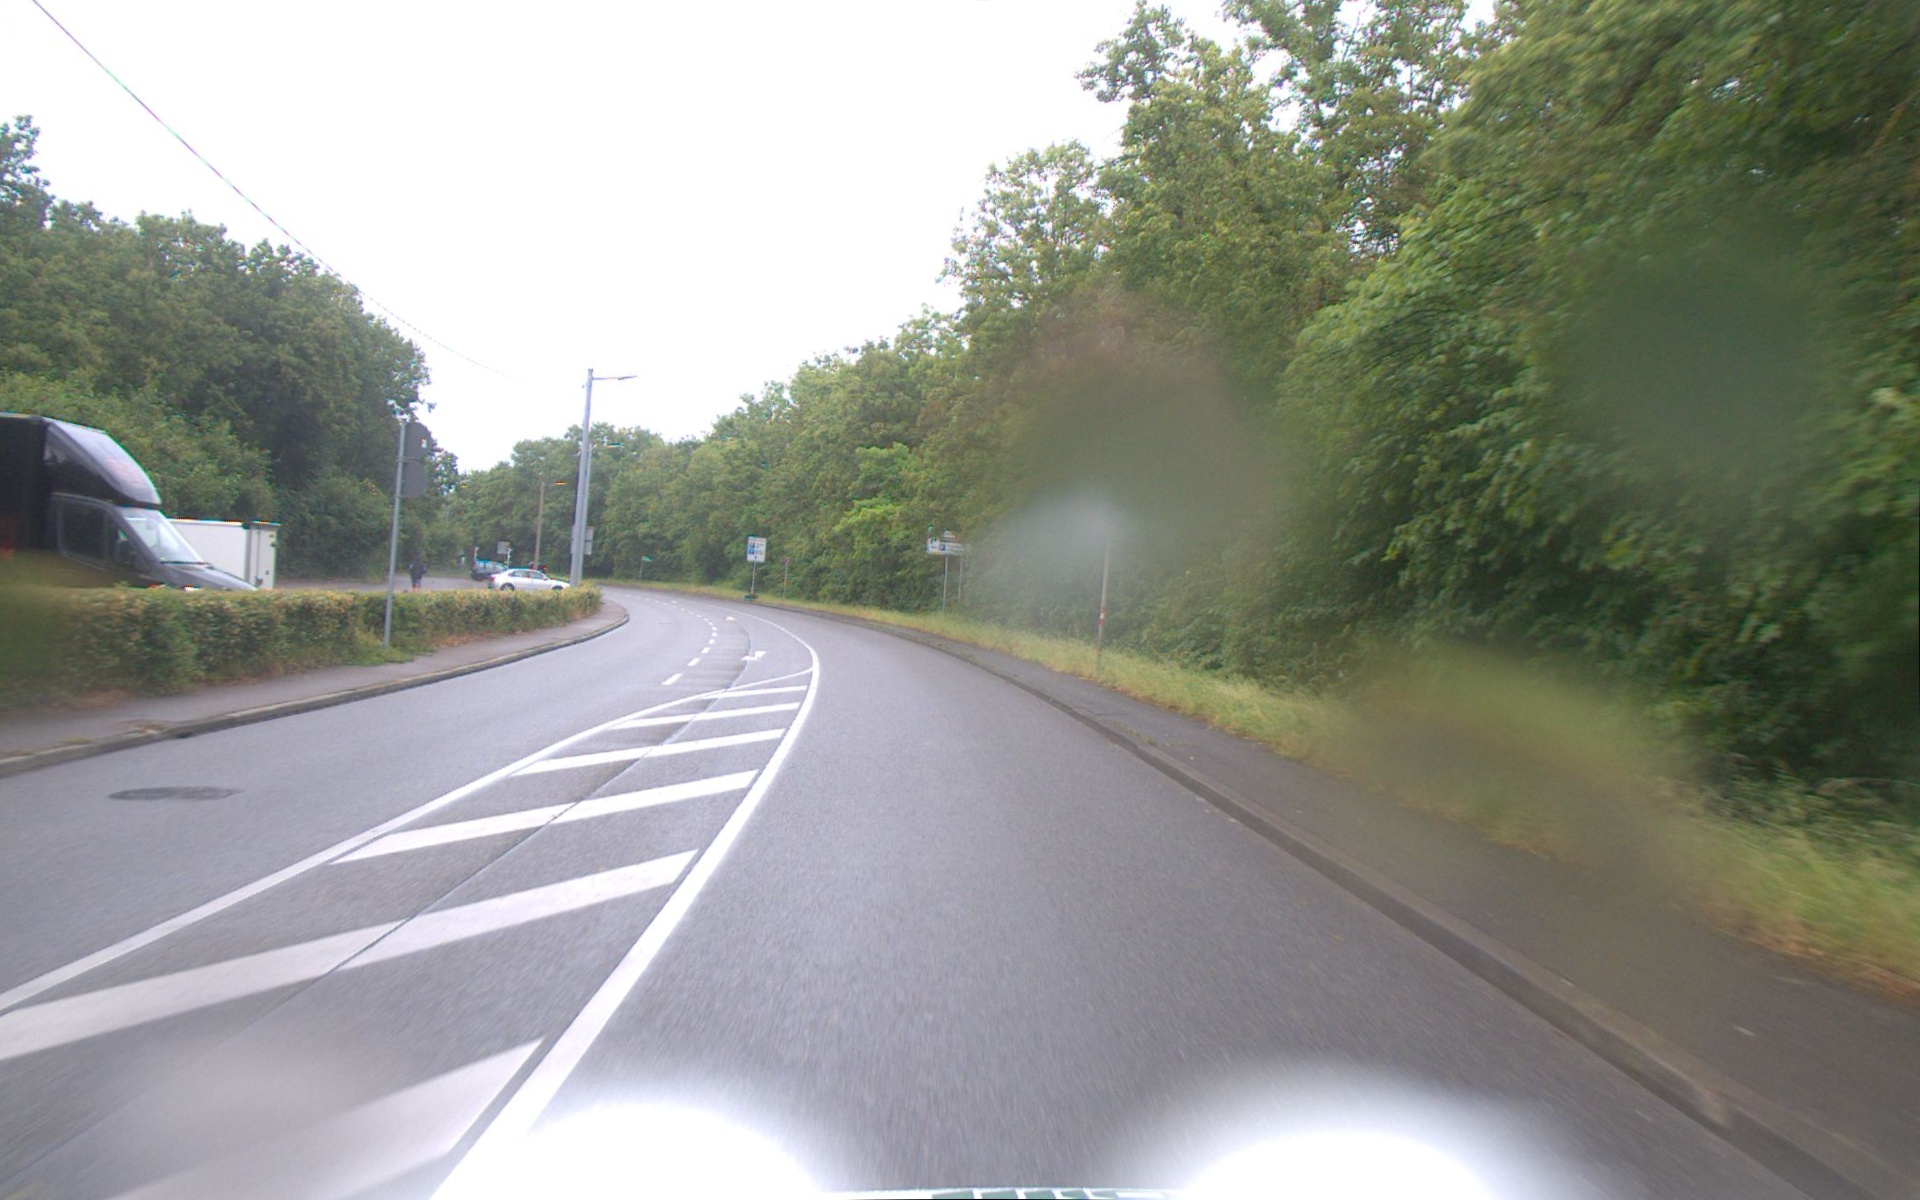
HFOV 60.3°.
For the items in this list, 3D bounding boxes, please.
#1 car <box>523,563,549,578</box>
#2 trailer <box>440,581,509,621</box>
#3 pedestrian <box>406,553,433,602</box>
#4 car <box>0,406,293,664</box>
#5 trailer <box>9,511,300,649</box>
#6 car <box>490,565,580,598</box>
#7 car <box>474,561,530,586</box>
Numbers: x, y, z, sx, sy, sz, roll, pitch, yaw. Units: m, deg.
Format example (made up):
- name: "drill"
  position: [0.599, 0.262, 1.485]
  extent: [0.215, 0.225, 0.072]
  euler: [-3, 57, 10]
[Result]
- name: "car"
  position: [-46.597, -3.276, 181.704]
  extent: [1.911, 1.524, 4.284]
  euler: [2, 1, -25]
- name: "trailer"
  position: [-14.196, 0.025, 48.418]
  extent: [1.769, 1.052, 1.330]
  euler: [2, 0, -12]
- name: "pedestrian"
  position: [-20.906, -0.869, 63.963]
  extent: [0.803, 1.829, 1.132]
  euler: [2, 0, -12]
- name: "car"
  position: [-12.670, -0.882, 22.351]
  extent: [6.155, 3.168, 2.746]
  euler: [2, -1, -9]
- name: "trailer"
  position: [-13.408, -0.321, 27.739]
  extent: [3.910, 2.088, 1.871]
  euler: [2, 0, -6]
- name: "car"
  position: [-22.865, -0.981, 88.964]
  extent: [4.508, 1.532, 1.988]
  euler: [3, 0, -21]
- name: "car"
  position: [-36.820, -2.113, 132.930]
  extent: [4.223, 1.738, 1.991]
  euler: [3, 0, -18]
